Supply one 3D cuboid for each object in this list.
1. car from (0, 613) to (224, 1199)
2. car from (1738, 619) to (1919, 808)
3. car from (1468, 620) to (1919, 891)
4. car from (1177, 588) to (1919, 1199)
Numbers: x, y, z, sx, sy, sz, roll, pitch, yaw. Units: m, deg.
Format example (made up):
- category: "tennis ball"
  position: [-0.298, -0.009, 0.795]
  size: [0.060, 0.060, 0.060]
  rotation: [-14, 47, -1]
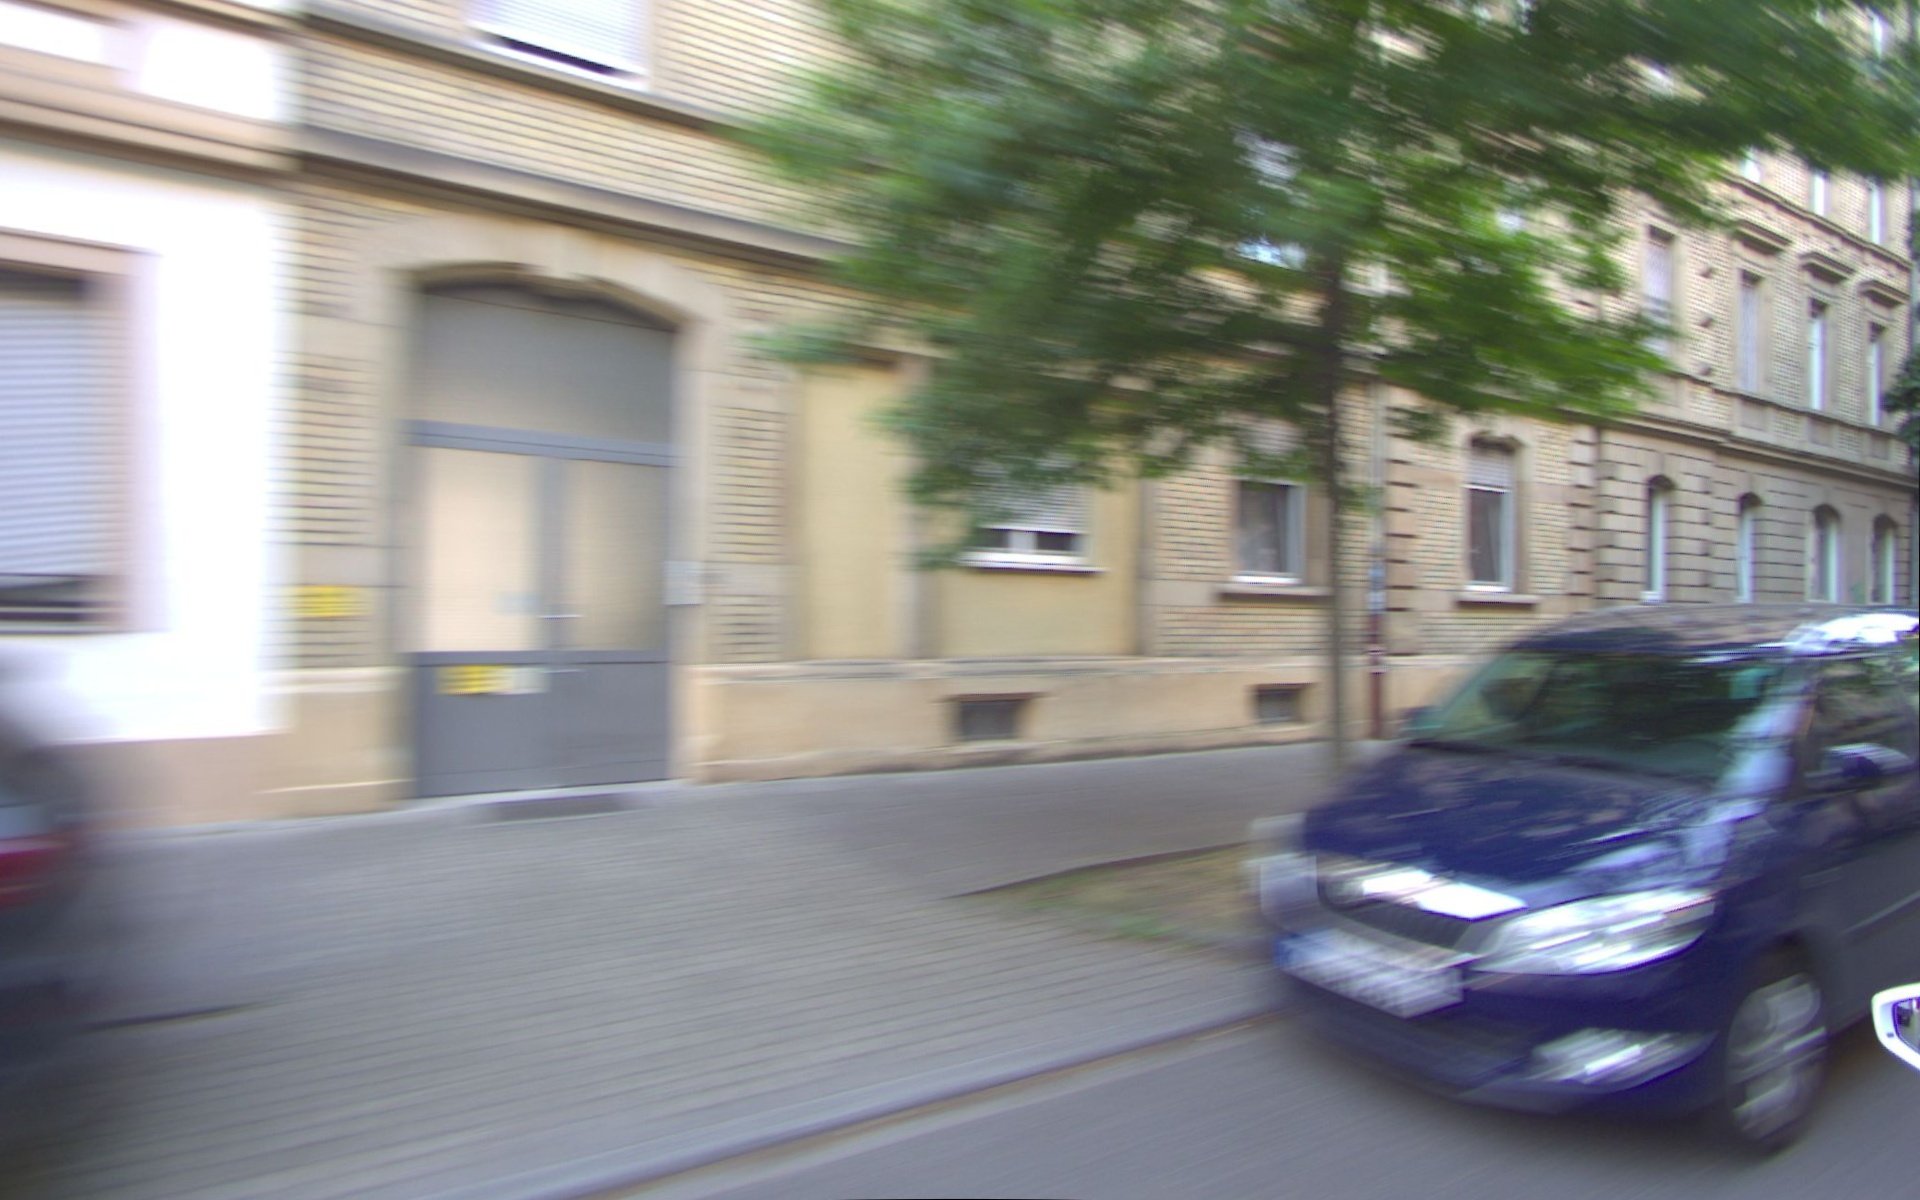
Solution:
- category: "car"
  position: [-4.045, 0.748, 1.807]
  size: [4.211, 1.482, 1.757]
  rotation: [1, -1, -32]
- category: "car"
  position: [9.213, 0.992, 9.681]
  size: [3.520, 1.521, 1.511]
  rotation: [1, 0, -31]
- category: "car"
  position: [5.702, 0.964, 7.540]
  size: [3.670, 1.521, 1.682]
  rotation: [1, 0, -32]
- category: "car"
  position: [3.070, 0.815, 4.258]
  size: [4.170, 1.594, 1.715]
  rotation: [1, -1, -31]
